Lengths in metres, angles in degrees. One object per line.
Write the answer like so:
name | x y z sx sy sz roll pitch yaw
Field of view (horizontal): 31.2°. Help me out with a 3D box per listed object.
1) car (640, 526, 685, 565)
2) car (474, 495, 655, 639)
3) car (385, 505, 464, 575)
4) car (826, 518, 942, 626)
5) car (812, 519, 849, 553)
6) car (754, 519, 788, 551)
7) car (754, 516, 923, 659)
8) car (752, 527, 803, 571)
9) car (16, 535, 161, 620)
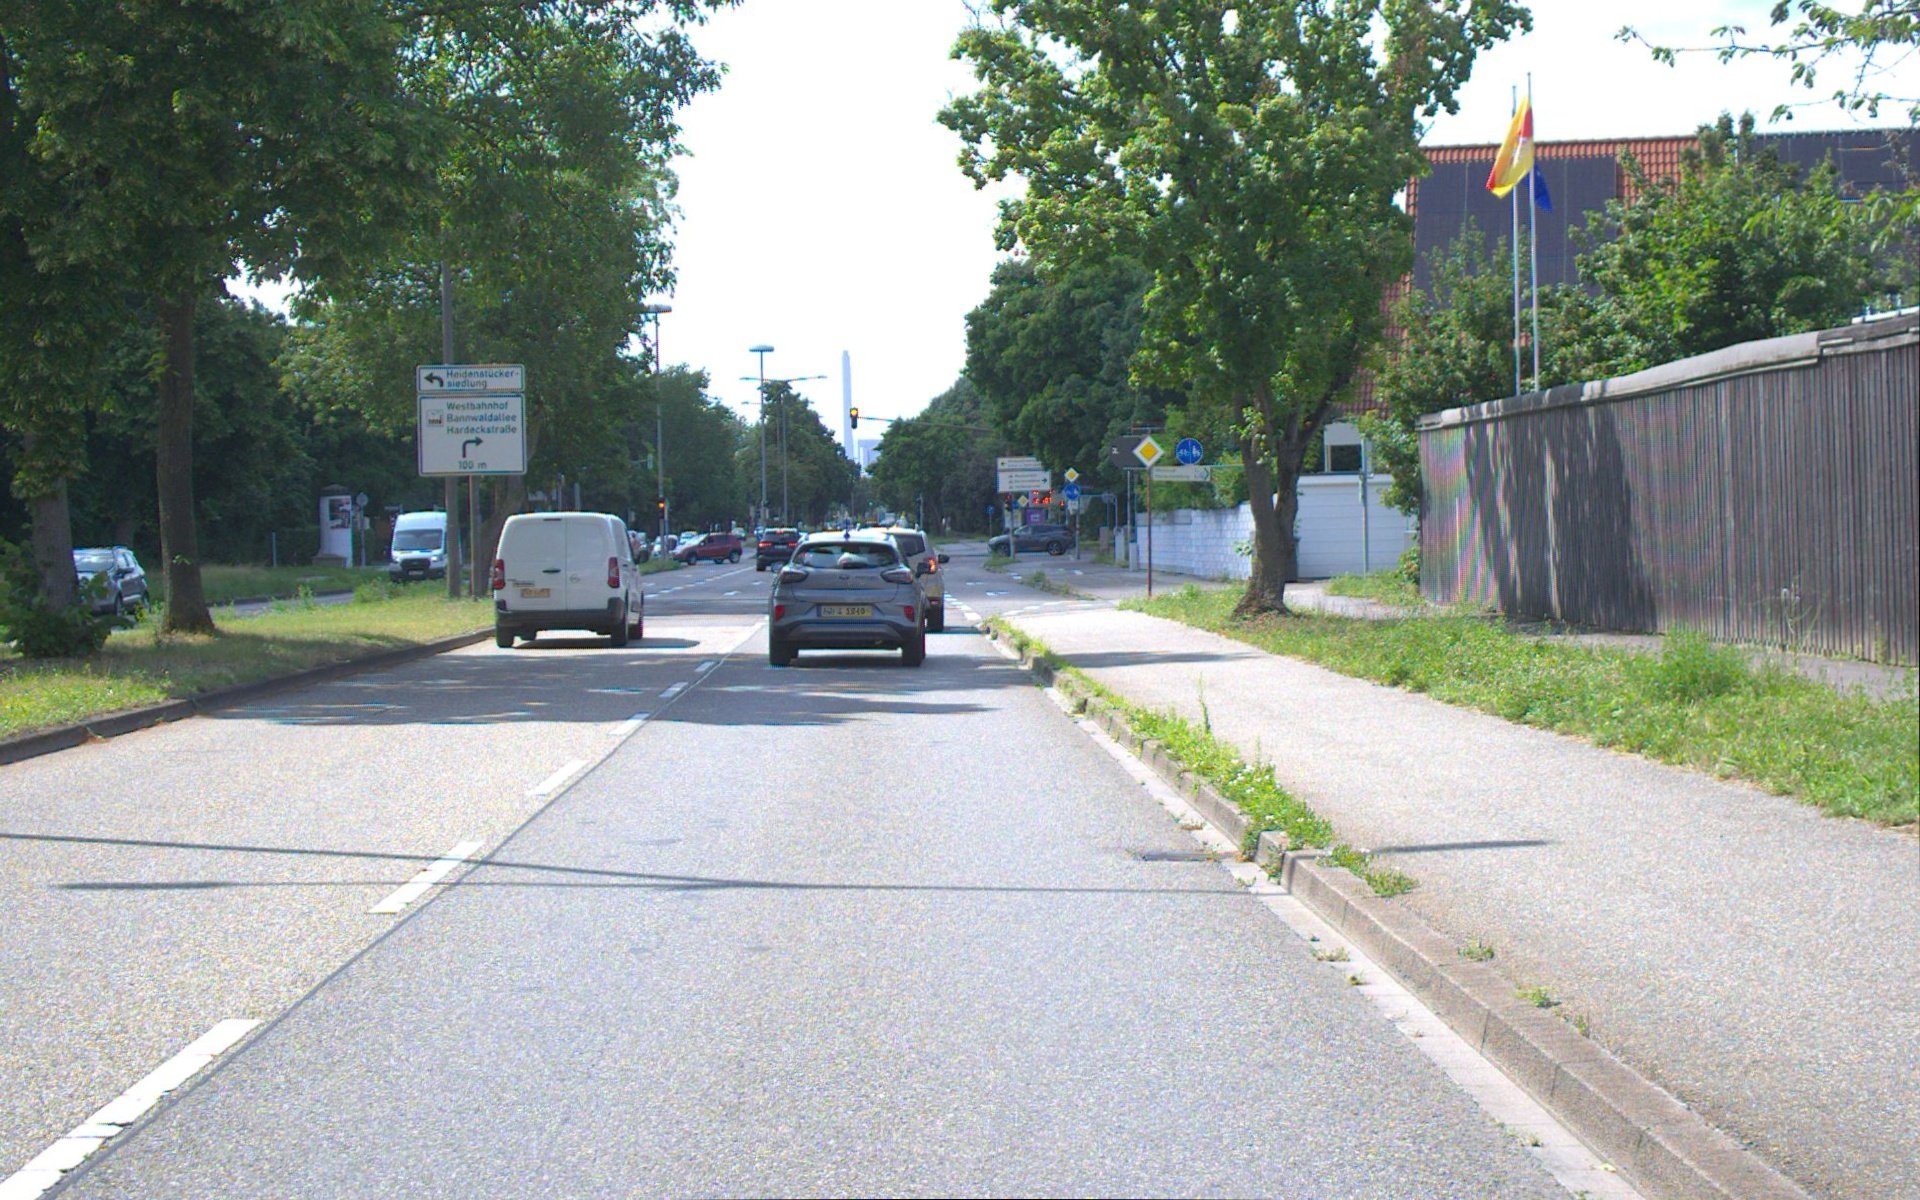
car | -13.898 -2.550 160.607 1.779 1.761 4.126 -1 1 -1
car | -5.467 -0.499 48.121 2.066 1.905 4.647 -1 1 -1
car | -19.104 -2.152 122.792 2.045 2.423 5.250 -1 1 -1
car | -1.208 -0.476 55.240 1.779 1.637 4.197 -1 1 -1
car | -6.742 -3.347 179.307 1.779 1.761 4.000 -1 1 -1
car | -10.735 -3.707 195.416 1.779 1.761 4.151 -1 1 -1
car | -1.389 -0.185 40.636 1.875 1.583 4.185 -1 1 -1
car | -7.535 -2.125 142.239 1.941 1.761 4.146 -1 1 -1
car | -18.216 -0.492 72.045 1.993 1.700 4.194 -1 1 -1
